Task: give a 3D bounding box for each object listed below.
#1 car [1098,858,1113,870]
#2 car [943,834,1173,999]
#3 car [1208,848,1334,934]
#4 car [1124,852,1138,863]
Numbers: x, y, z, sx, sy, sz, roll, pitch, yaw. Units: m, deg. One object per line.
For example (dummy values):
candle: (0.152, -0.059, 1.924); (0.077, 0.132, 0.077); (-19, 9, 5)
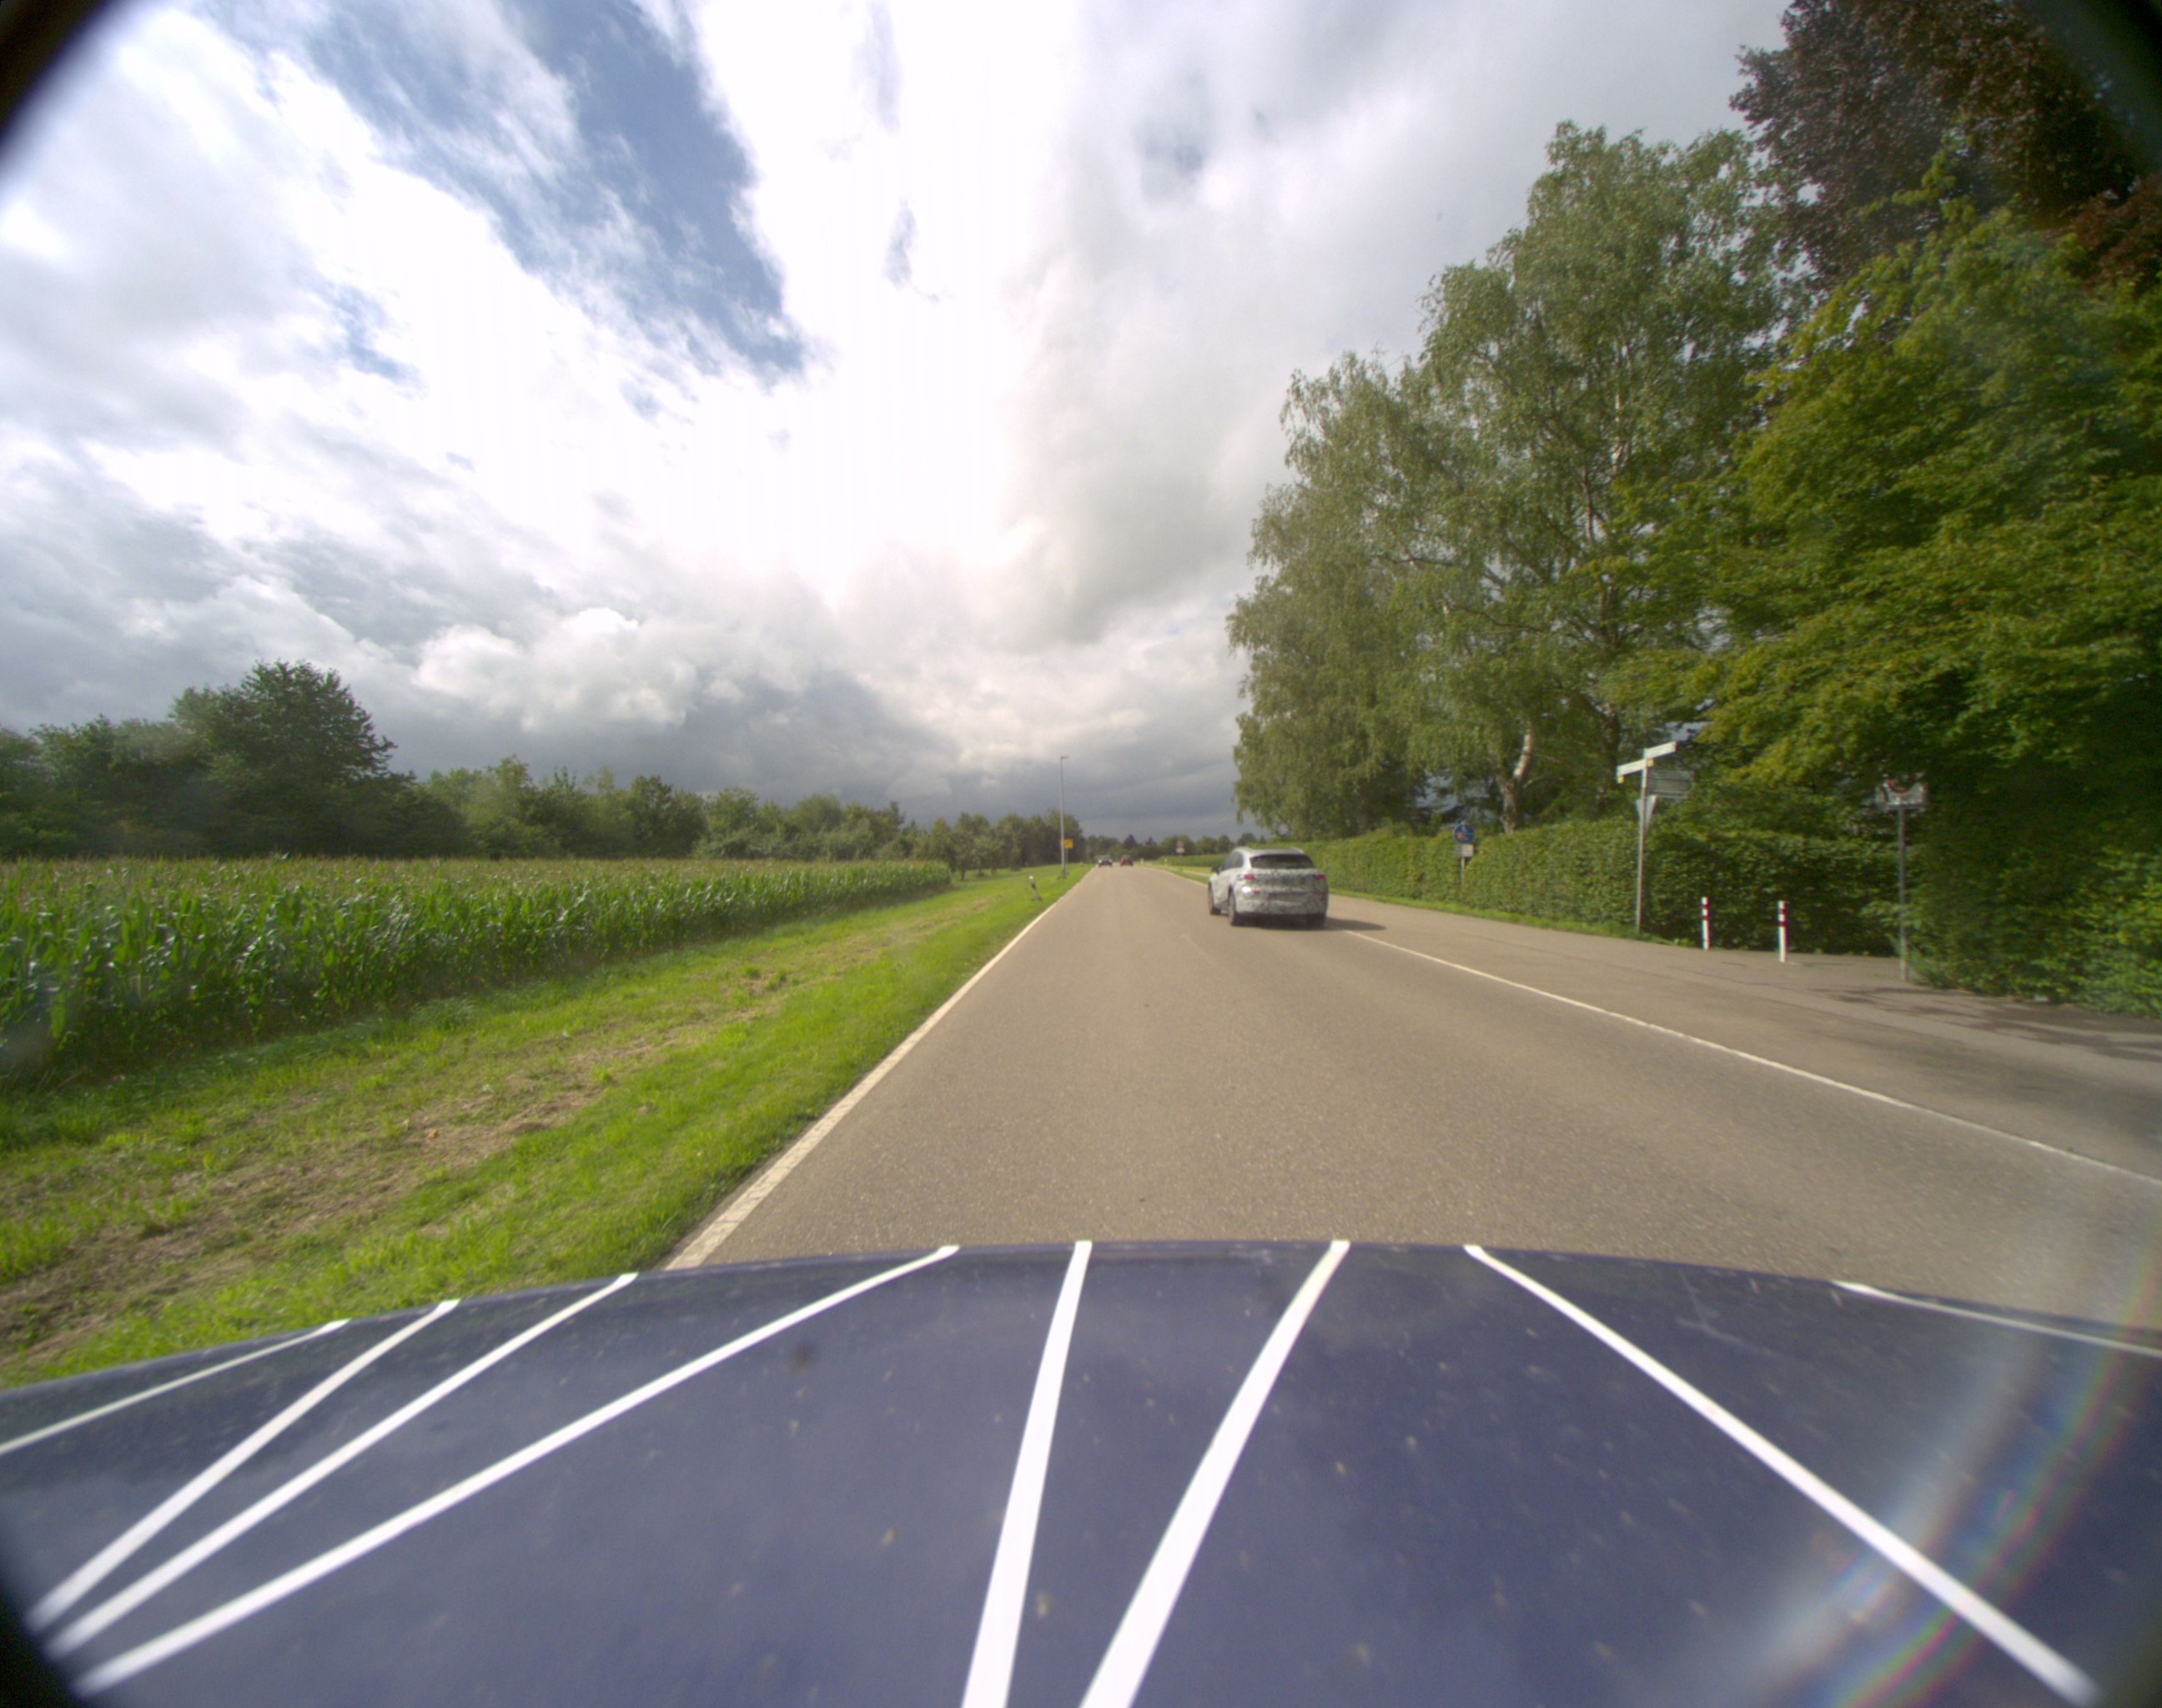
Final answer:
car: (3.448, 1.358, 106.733); (1.998, 1.594, 4.000); (-2, 0, 2)
car: (-0.567, 0.816, 11.886); (2.002, 2.002, 3.992); (-4, 1, -26)
car: (3.972, 0.706, 16.586); (1.815, 1.641, 4.292); (0, 0, 2)
car: (6.868, 0.513, 104.575); (1.744, 1.462, 4.000); (0, 0, 2)
